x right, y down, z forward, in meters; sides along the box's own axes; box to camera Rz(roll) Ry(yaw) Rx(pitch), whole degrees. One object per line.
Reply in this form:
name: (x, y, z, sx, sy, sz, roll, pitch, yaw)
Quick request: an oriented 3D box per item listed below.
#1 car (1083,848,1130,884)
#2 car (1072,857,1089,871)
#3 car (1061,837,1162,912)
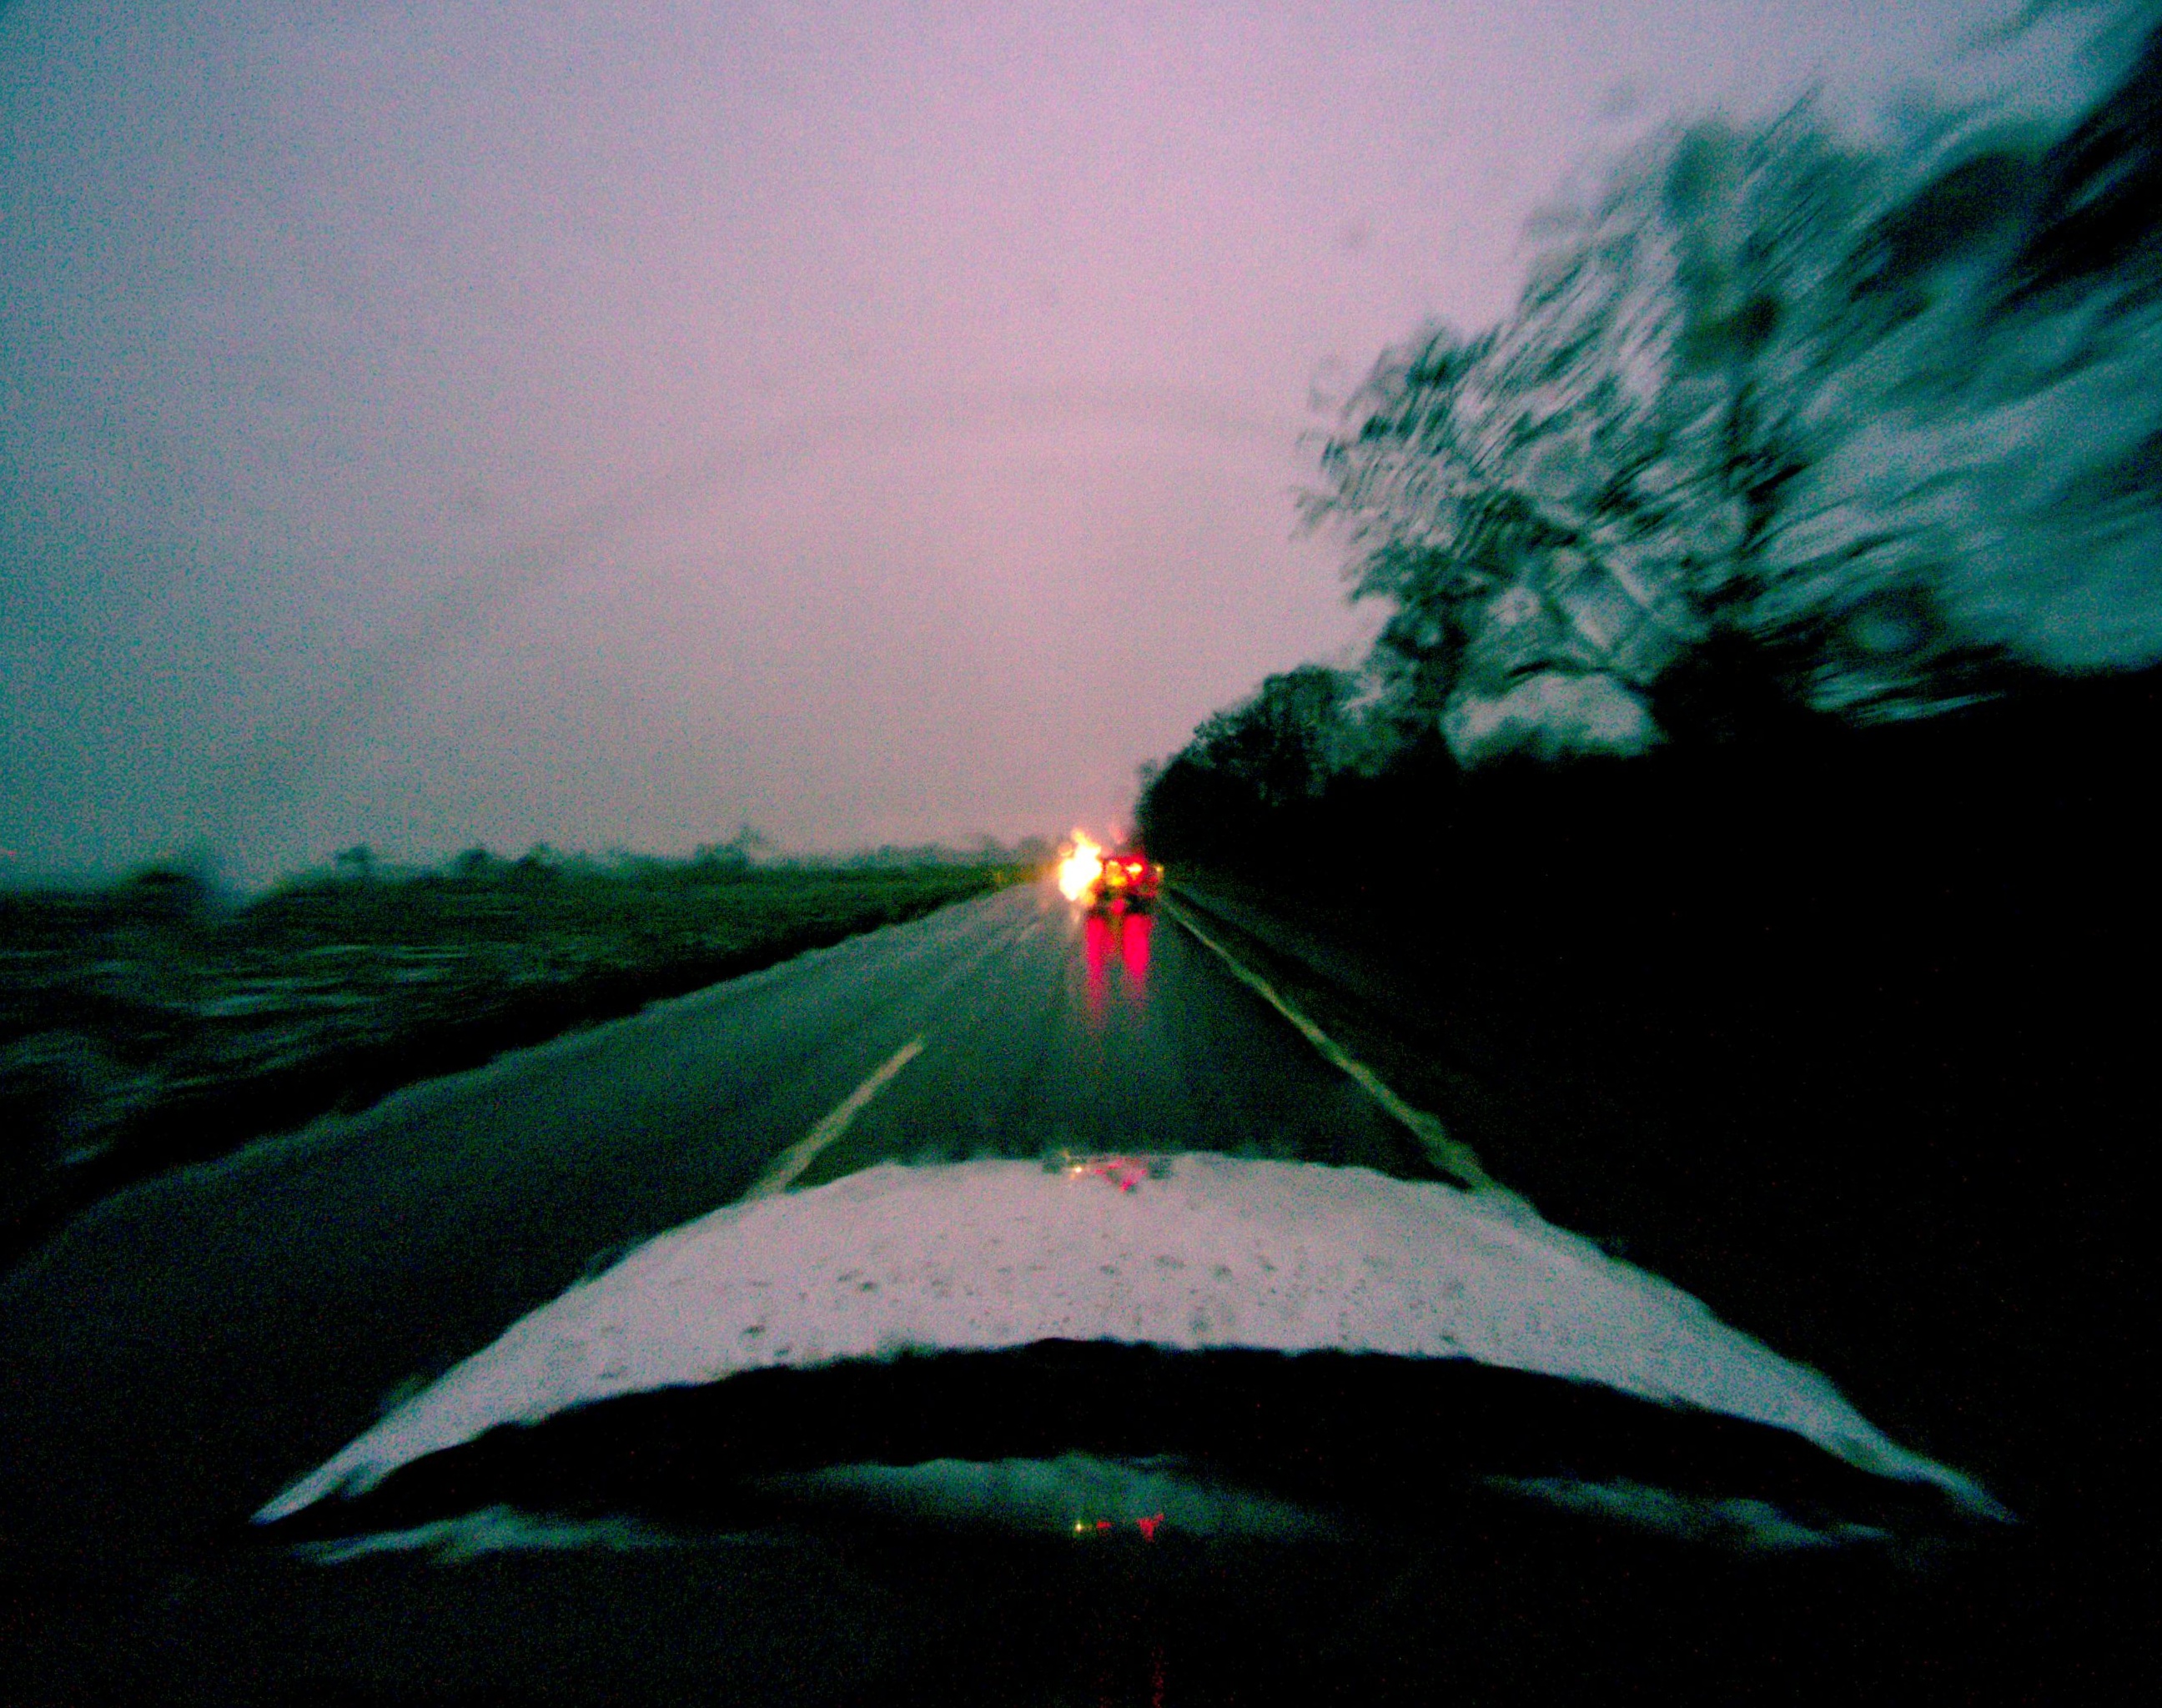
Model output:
car: (1.574, 0.695, 48.109, 2.581, 2.014, 5.808, 0, 0, 3)
car: (-0.038, 1.081, 91.409, 1.722, 1.413, 4.024, -4, 0, 1)
car: (0.988, 0.577, 25.414, 2.809, 2.077, 5.808, 0, 0, 3)
